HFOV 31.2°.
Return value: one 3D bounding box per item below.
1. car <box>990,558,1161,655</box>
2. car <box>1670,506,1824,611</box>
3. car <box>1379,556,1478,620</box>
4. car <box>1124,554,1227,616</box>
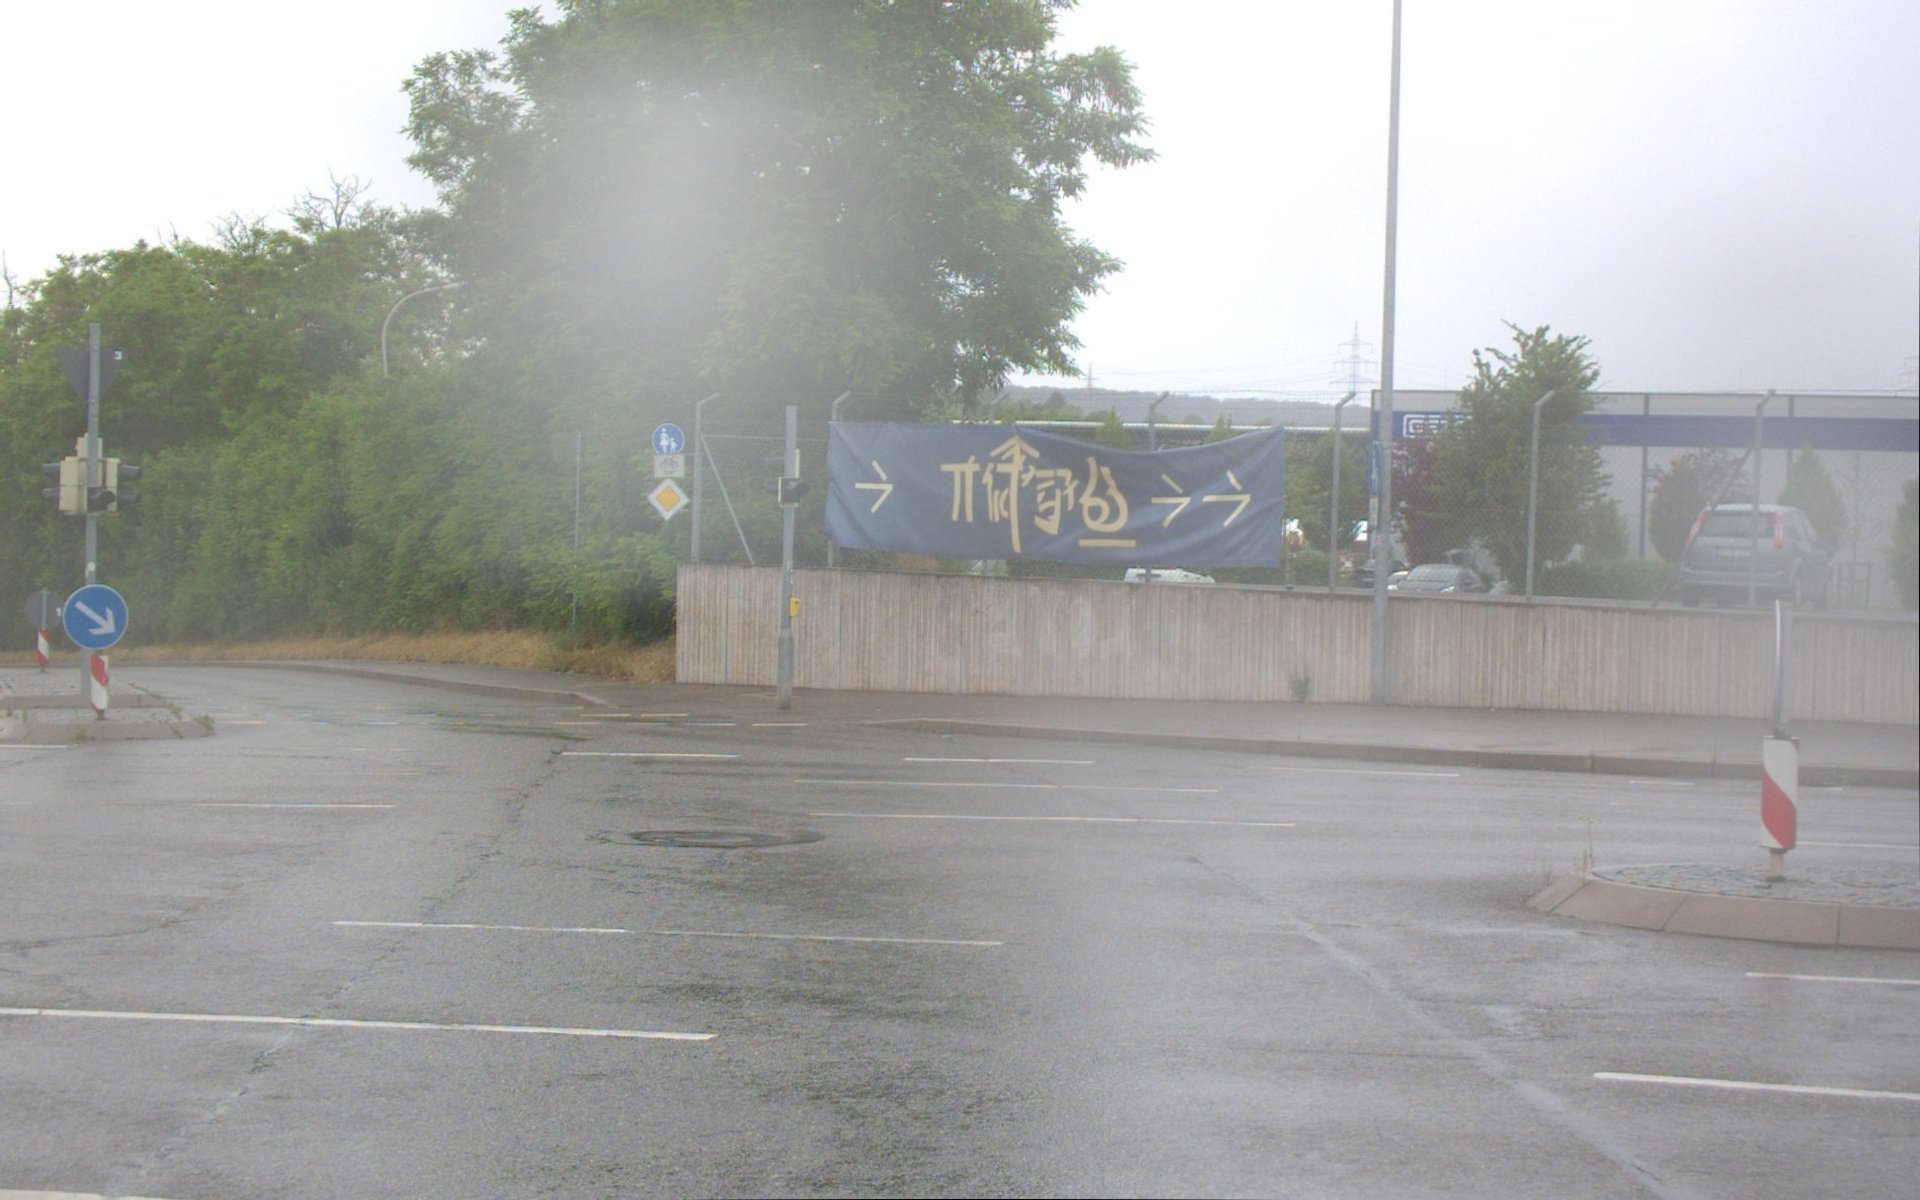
[{"bbox_3d":[1.969,0.106,57.855,1.745,1.564,3.526,1,0,22],"label":"car"},{"bbox_3d":[12.132,-0.618,52.901,1.745,1.548,3.526,1,0,22],"label":"car"},{"bbox_3d":[12.027,-0.305,88.075,1.668,1.601,3.526,1,0,22],"label":"car"},{"bbox_3d":[5.754,-0.401,91.532,1.668,1.601,3.526,1,0,22],"label":"car"}]
